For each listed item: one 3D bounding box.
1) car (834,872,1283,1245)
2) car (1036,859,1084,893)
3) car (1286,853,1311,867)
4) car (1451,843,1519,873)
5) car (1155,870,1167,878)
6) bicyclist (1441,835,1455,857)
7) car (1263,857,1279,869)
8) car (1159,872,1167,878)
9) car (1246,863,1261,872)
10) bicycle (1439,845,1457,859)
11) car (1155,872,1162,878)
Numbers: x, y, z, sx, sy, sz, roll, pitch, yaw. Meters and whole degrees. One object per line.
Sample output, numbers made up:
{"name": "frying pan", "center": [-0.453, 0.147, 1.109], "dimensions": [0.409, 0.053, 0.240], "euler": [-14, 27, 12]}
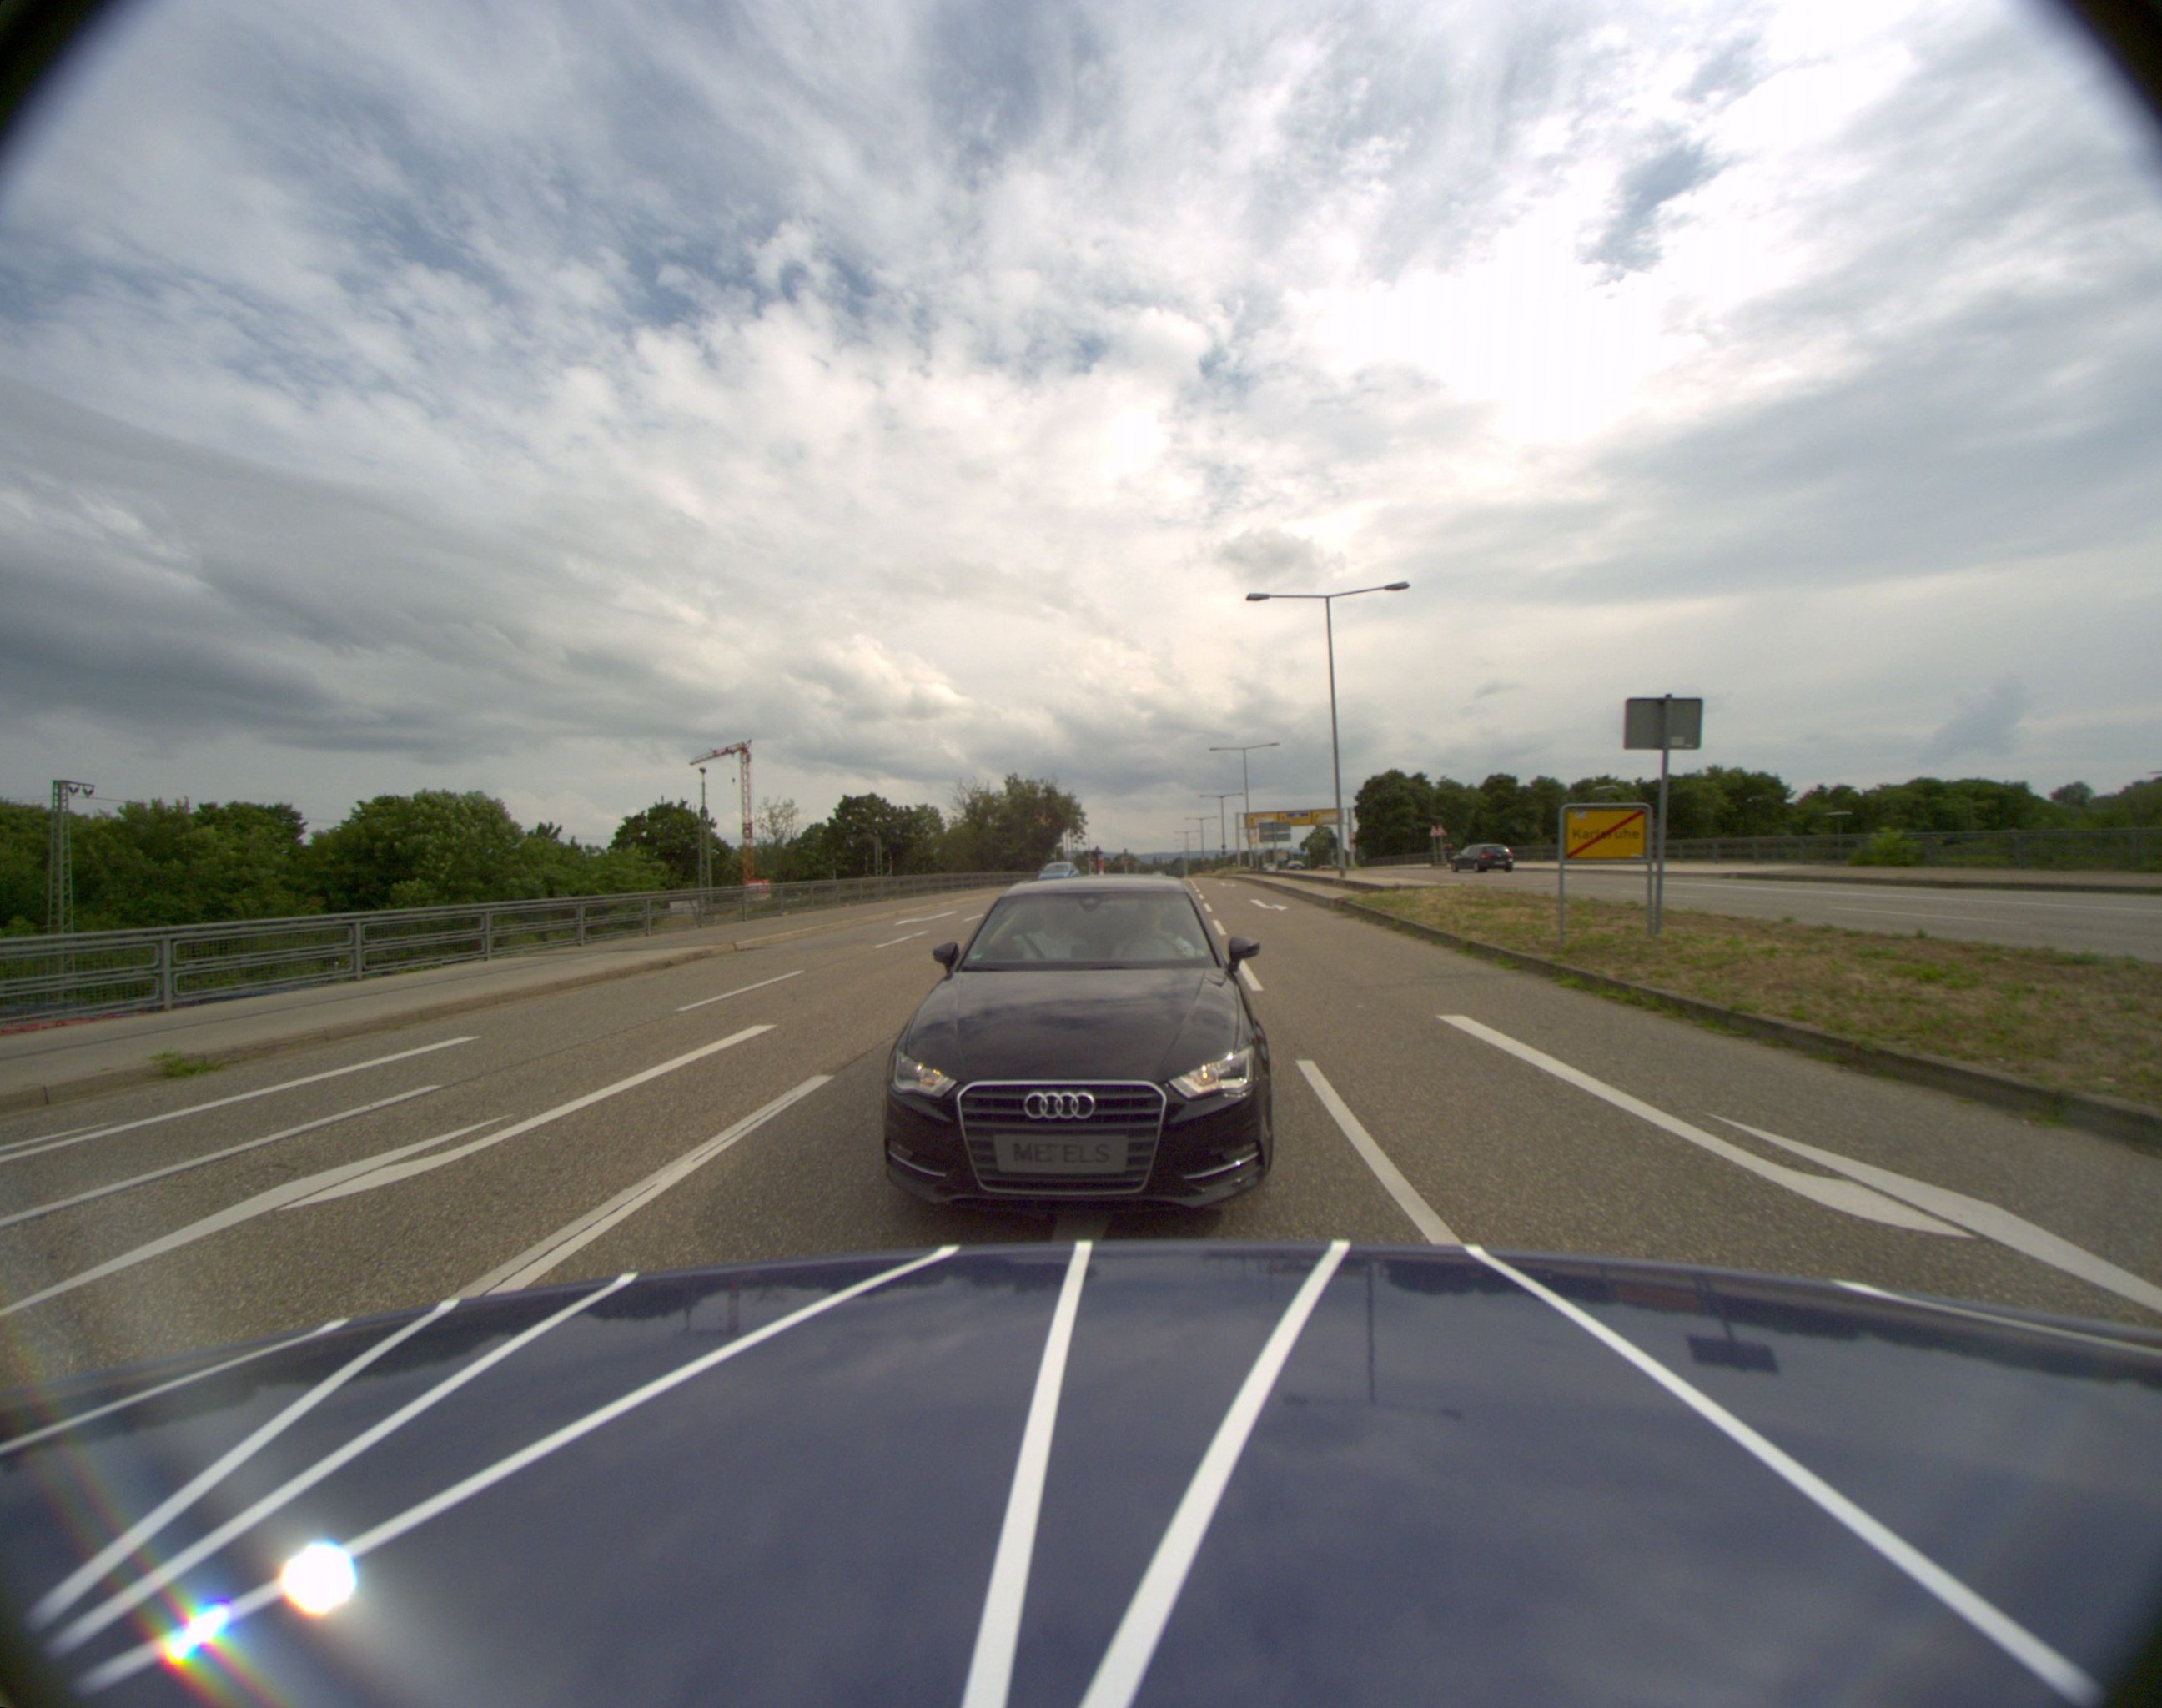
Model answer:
{"name": "car", "center": [0.157, 0.923, 5.534], "dimensions": [1.851, 1.355, 4.731], "euler": [-2, 0, 7]}
{"name": "car", "center": [-1.050, 1.127, 39.787], "dimensions": [1.724, 1.512, 3.952], "euler": [-4, 0, 9]}
{"name": "car", "center": [24.415, 0.671, 85.285], "dimensions": [1.825, 1.438, 4.354], "euler": [-2, 0, 5]}
{"name": "car", "center": [20.935, 0.178, 39.540], "dimensions": [1.796, 1.410, 4.002], "euler": [-2, 0, 7]}
{"name": "car", "center": [13.910, 3.435, 132.148], "dimensions": [1.860, 1.335, 4.002], "euler": [-2, 0, 7]}
{"name": "bicyclist", "center": [28.199, -0.626, 58.336], "dimensions": [0.685, 1.662, 0.848], "euler": [-3, 0, 9]}
{"name": "car", "center": [25.858, 1.214, 103.606], "dimensions": [1.619, 1.402, 3.862], "euler": [-1, 0, 6]}
{"name": "car", "center": [19.572, 5.058, 181.965], "dimensions": [1.860, 1.335, 4.002], "euler": [-2, 0, 7]}
{"name": "car", "center": [27.300, 2.147, 120.309], "dimensions": [1.745, 1.402, 3.878], "euler": [-1, 0, 5]}
{"name": "bicycle", "center": [28.214, -0.168, 58.387], "dimensions": [0.685, 1.047, 1.996], "euler": [-3, 0, 9]}
{"name": "car", "center": [21.743, 5.911, 212.316], "dimensions": [1.860, 1.335, 4.002], "euler": [-2, 0, 7]}
